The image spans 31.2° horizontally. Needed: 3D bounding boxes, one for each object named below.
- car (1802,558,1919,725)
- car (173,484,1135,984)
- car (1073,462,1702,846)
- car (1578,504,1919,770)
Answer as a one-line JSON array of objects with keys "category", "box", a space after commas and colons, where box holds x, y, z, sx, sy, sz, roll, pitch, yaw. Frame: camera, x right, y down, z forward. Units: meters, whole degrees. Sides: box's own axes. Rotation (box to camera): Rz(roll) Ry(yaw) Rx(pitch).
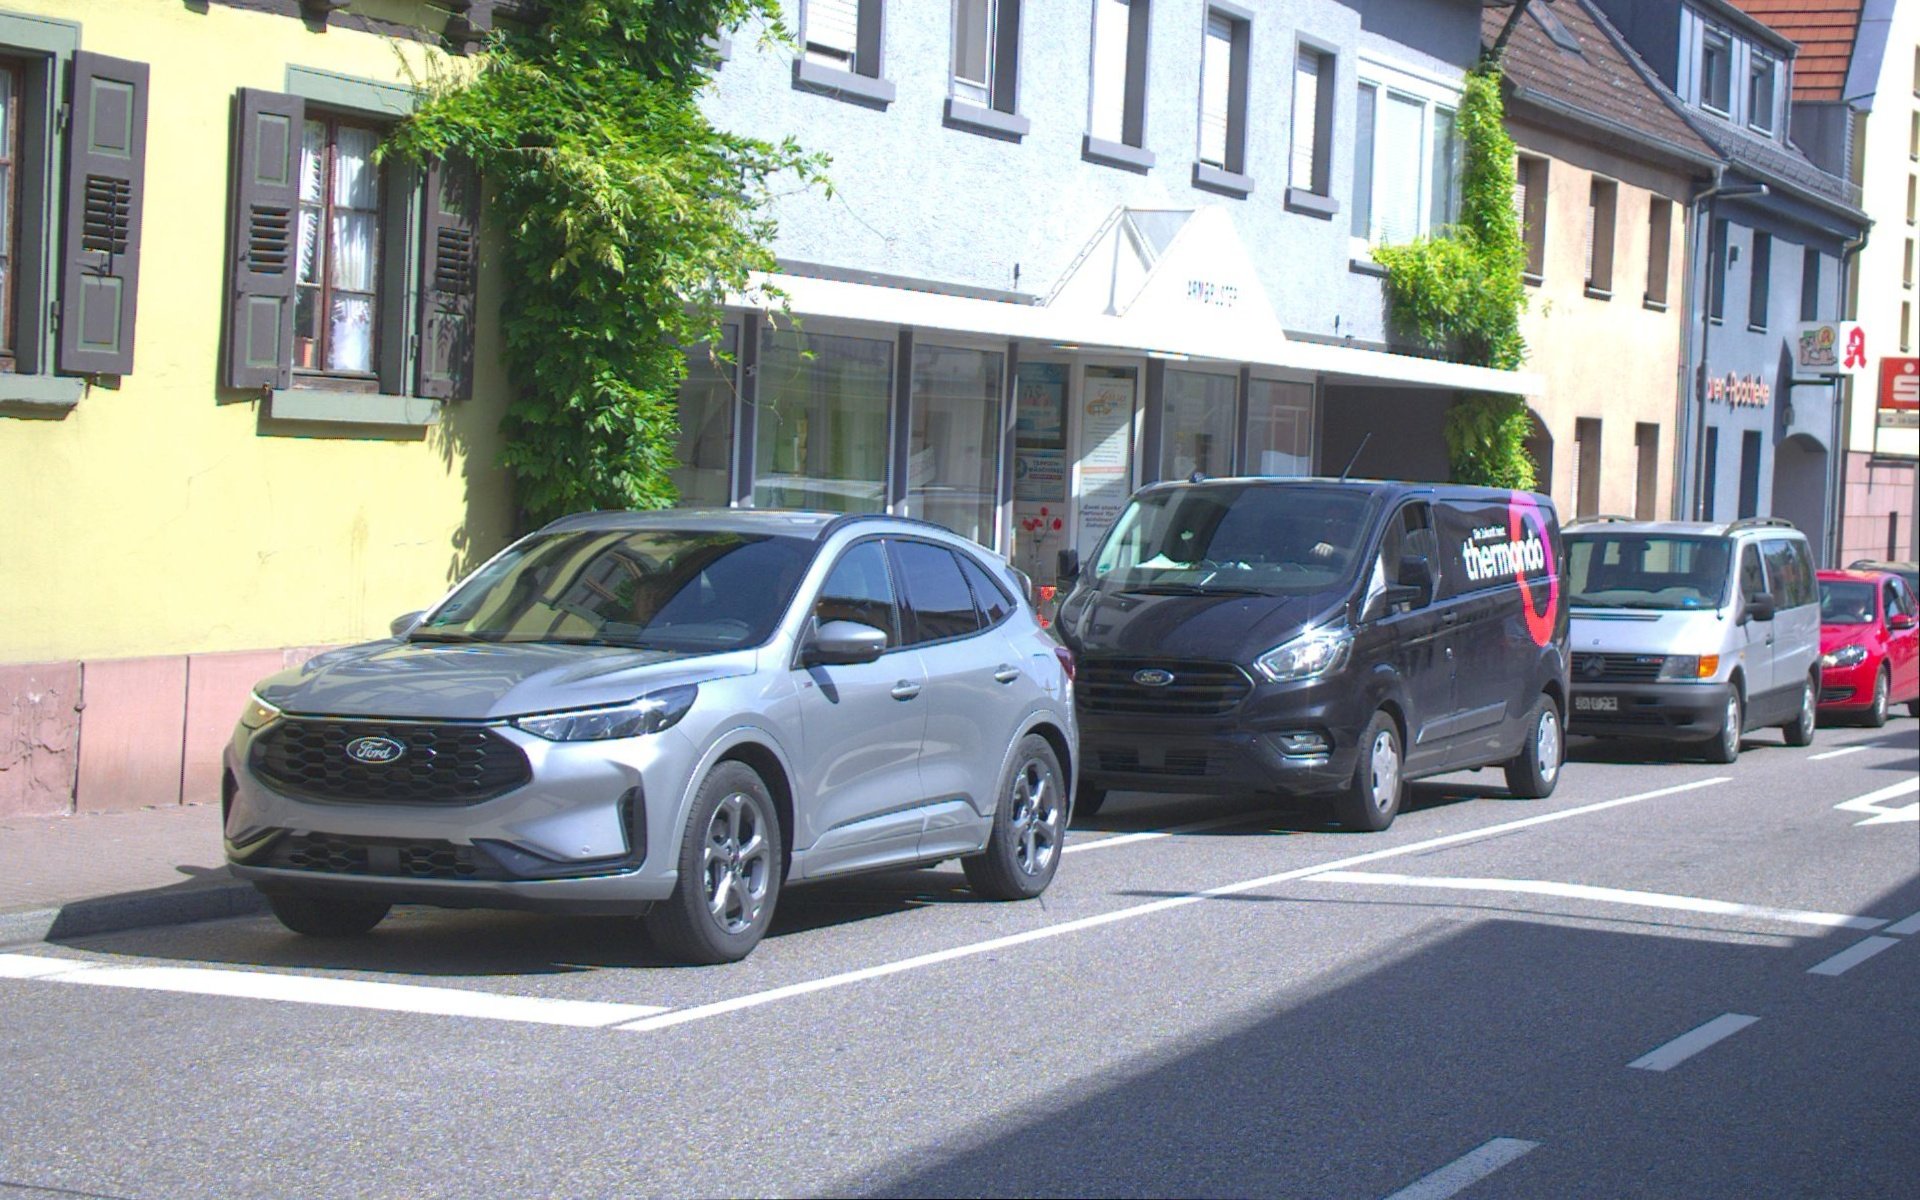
[{"category": "car", "box": [9.505, 0.374, 33.124, 1.761, 1.487, 4.070, 2, 1, 27]}, {"category": "car", "box": [-0.971, 0.407, 13.454, 1.758, 1.604, 4.422, 1, 1, 25]}, {"category": "car", "box": [2.694, 0.242, 20.291, 2.162, 1.916, 5.158, 2, 1, 25]}, {"category": "car", "box": [6.499, 0.241, 27.215, 1.886, 1.884, 4.545, 2, 1, 27]}]
